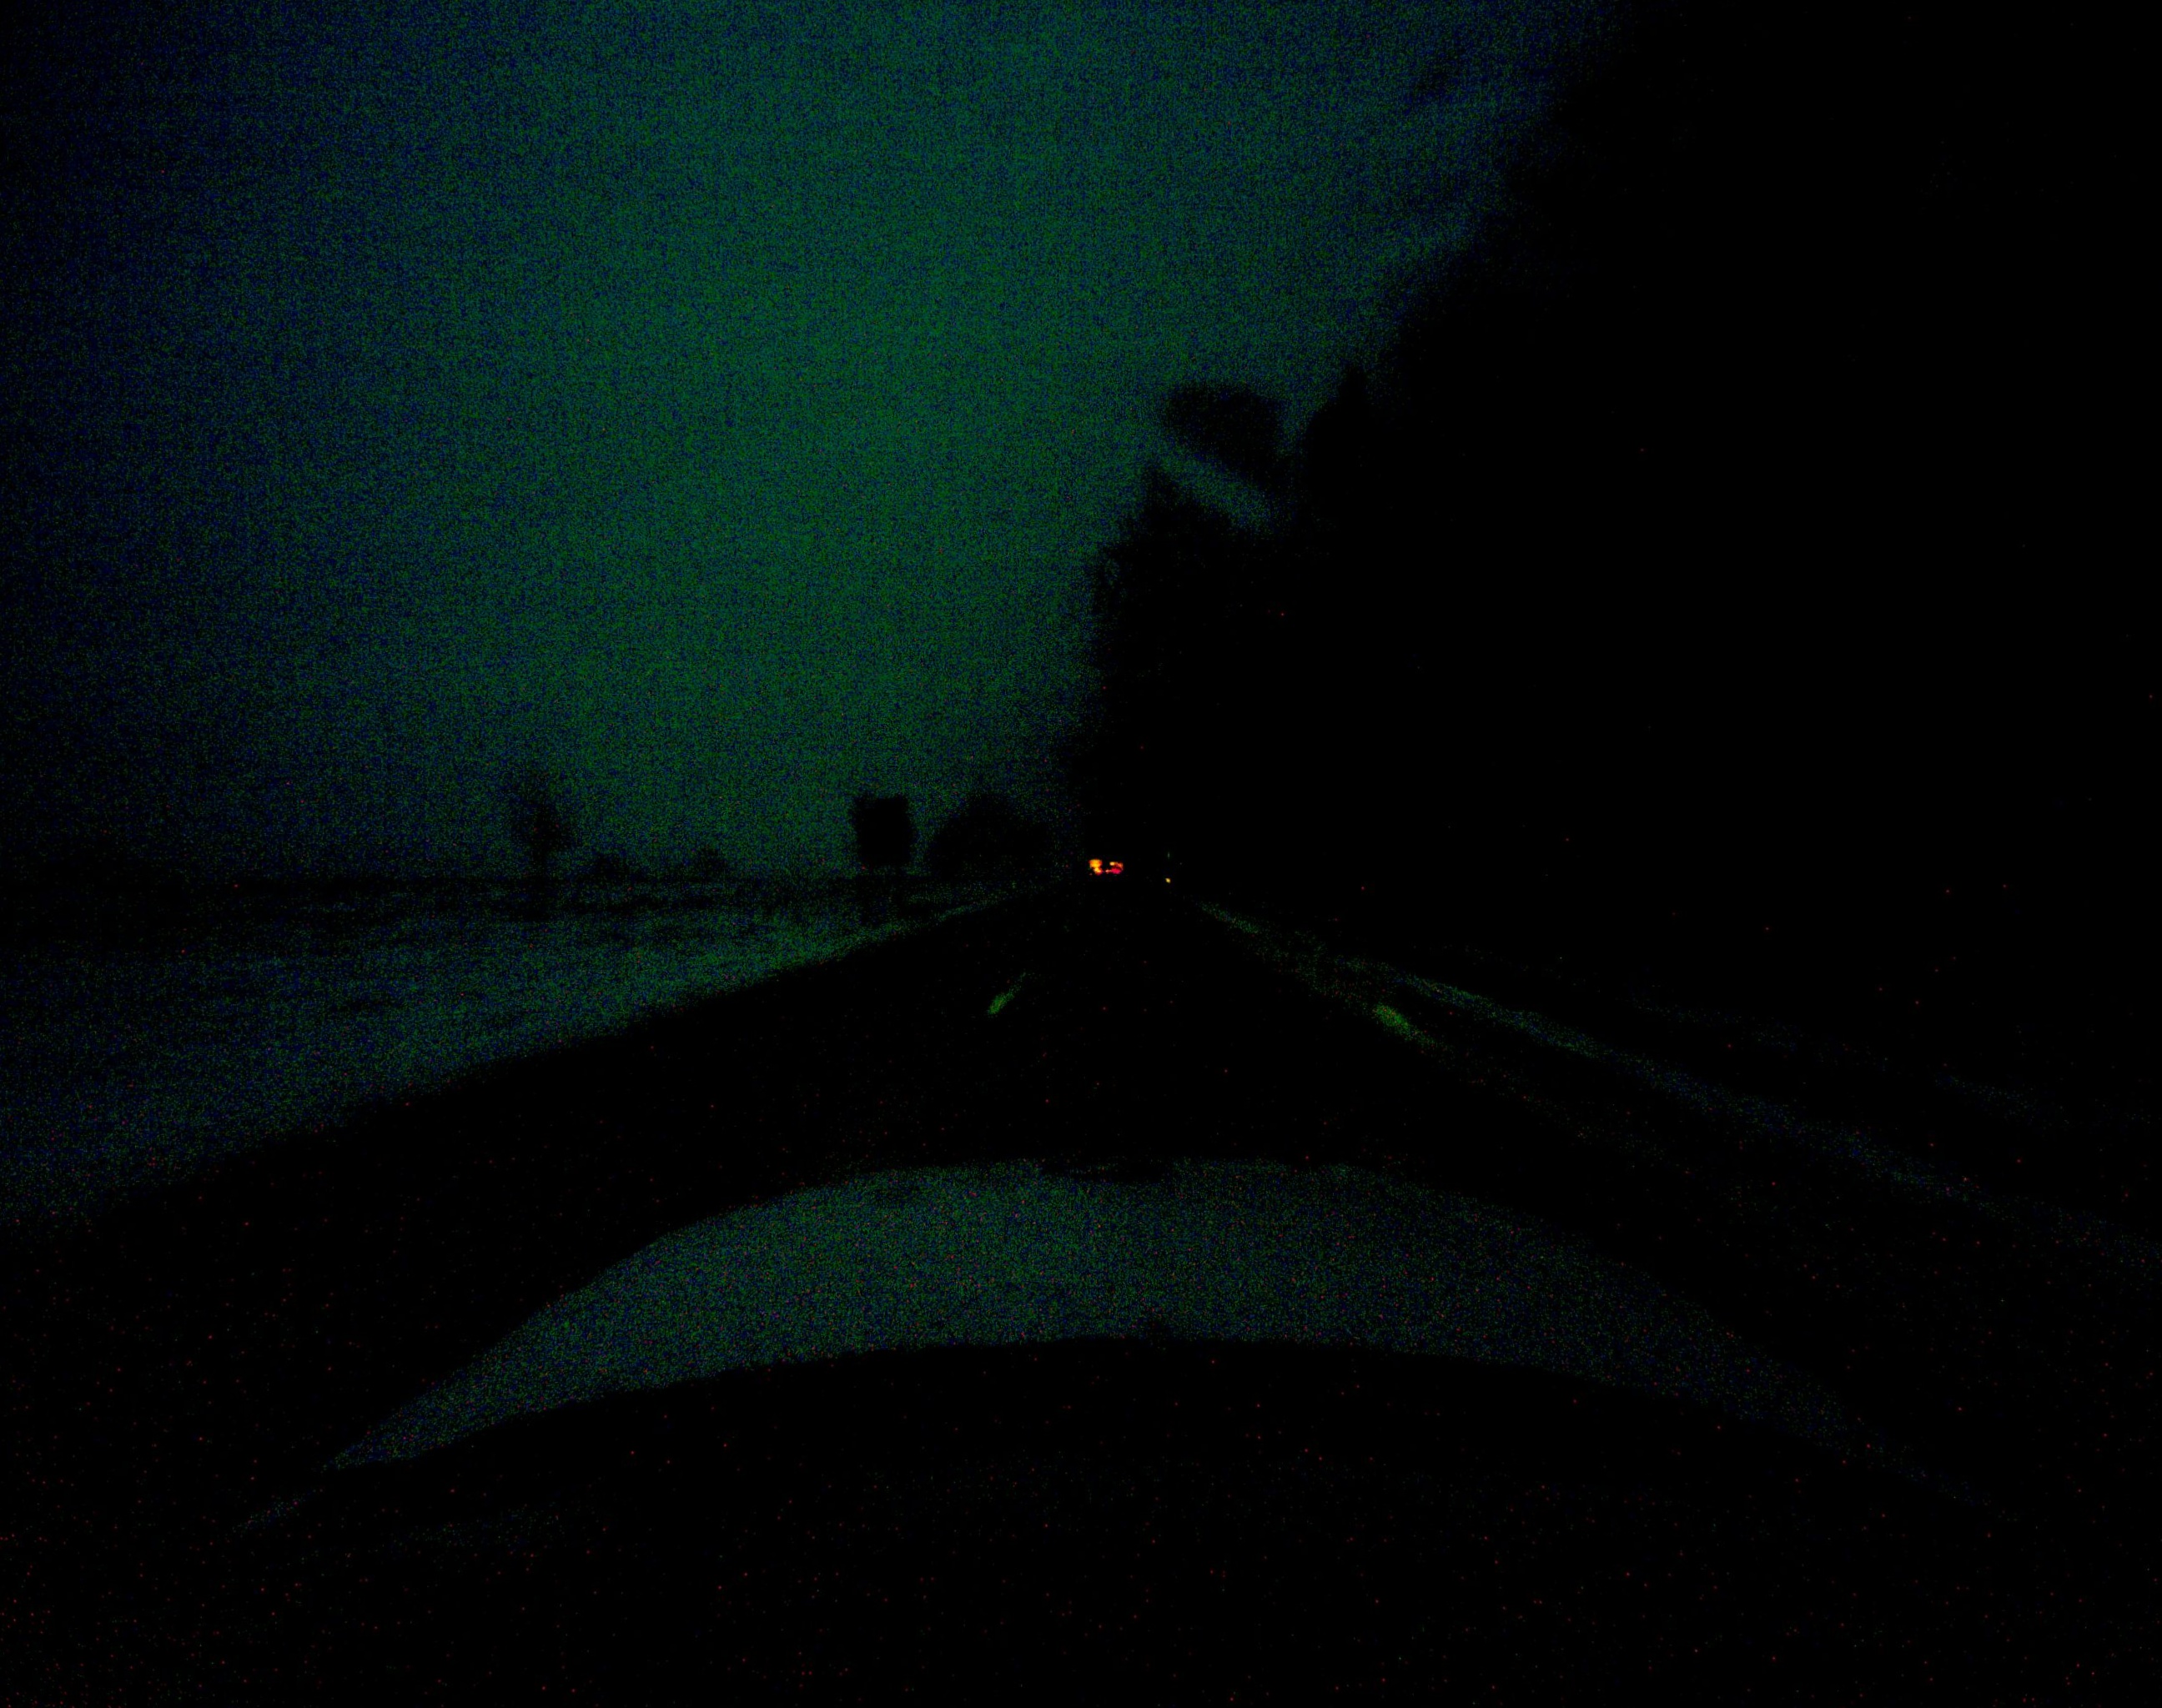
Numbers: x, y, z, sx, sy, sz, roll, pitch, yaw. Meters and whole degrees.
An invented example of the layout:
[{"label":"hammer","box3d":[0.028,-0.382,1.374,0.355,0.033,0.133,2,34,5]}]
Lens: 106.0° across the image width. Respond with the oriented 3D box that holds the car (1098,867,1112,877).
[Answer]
[{"label":"car","box3d":[3.578,2.726,122.180,1.987,1.420,4.000,-3,-1,1]}]
